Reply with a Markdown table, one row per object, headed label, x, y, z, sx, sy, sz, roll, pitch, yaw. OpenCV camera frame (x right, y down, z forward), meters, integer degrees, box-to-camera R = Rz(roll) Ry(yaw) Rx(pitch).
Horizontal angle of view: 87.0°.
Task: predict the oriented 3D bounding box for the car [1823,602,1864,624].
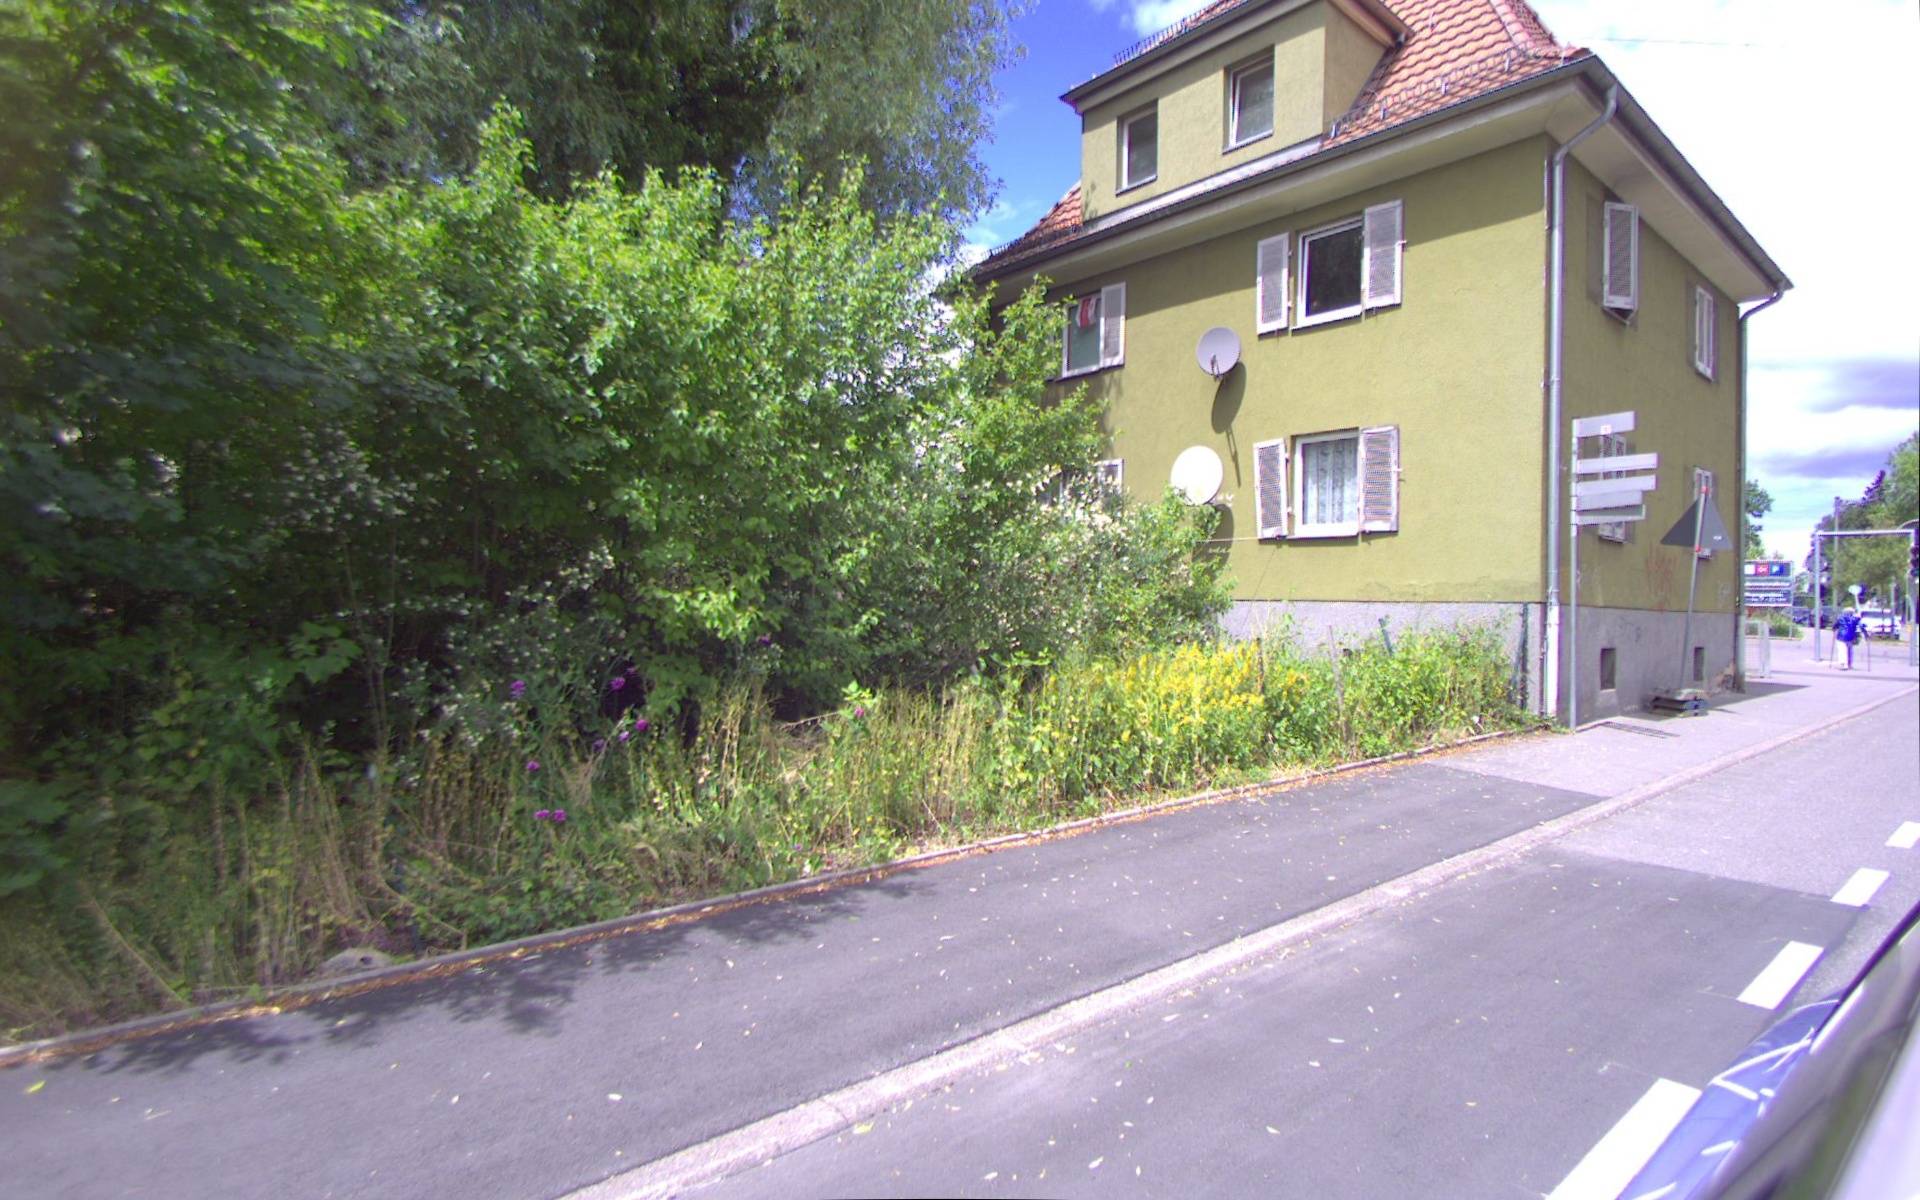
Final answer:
| label | x | y | z | sx | sy | sz | roll | pitch | yaw |
| --- | --- | --- | --- | --- | --- | --- | --- | --- | --- |
| car | 63.808 | 0.931 | 73.122 | 1.694 | 1.551 | 3.951 | -1 | -1 | 34 |

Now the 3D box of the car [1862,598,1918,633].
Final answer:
| label | x | y | z | sx | sy | sz | roll | pitch | yaw |
| --- | --- | --- | --- | --- | --- | --- | --- | --- | --- |
| car | 46.581 | 0.745 | 50.746 | 1.788 | 1.549 | 3.864 | 4 | 2 | 40 |

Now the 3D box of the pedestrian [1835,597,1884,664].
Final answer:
| label | x | y | z | sx | sy | sz | roll | pitch | yaw |
| --- | --- | --- | --- | --- | --- | --- | --- | --- | --- |
| pedestrian | 22.101 | 0.731 | 24.864 | 0.824 | 1.592 | 0.972 | 2 | 1 | 45 |
